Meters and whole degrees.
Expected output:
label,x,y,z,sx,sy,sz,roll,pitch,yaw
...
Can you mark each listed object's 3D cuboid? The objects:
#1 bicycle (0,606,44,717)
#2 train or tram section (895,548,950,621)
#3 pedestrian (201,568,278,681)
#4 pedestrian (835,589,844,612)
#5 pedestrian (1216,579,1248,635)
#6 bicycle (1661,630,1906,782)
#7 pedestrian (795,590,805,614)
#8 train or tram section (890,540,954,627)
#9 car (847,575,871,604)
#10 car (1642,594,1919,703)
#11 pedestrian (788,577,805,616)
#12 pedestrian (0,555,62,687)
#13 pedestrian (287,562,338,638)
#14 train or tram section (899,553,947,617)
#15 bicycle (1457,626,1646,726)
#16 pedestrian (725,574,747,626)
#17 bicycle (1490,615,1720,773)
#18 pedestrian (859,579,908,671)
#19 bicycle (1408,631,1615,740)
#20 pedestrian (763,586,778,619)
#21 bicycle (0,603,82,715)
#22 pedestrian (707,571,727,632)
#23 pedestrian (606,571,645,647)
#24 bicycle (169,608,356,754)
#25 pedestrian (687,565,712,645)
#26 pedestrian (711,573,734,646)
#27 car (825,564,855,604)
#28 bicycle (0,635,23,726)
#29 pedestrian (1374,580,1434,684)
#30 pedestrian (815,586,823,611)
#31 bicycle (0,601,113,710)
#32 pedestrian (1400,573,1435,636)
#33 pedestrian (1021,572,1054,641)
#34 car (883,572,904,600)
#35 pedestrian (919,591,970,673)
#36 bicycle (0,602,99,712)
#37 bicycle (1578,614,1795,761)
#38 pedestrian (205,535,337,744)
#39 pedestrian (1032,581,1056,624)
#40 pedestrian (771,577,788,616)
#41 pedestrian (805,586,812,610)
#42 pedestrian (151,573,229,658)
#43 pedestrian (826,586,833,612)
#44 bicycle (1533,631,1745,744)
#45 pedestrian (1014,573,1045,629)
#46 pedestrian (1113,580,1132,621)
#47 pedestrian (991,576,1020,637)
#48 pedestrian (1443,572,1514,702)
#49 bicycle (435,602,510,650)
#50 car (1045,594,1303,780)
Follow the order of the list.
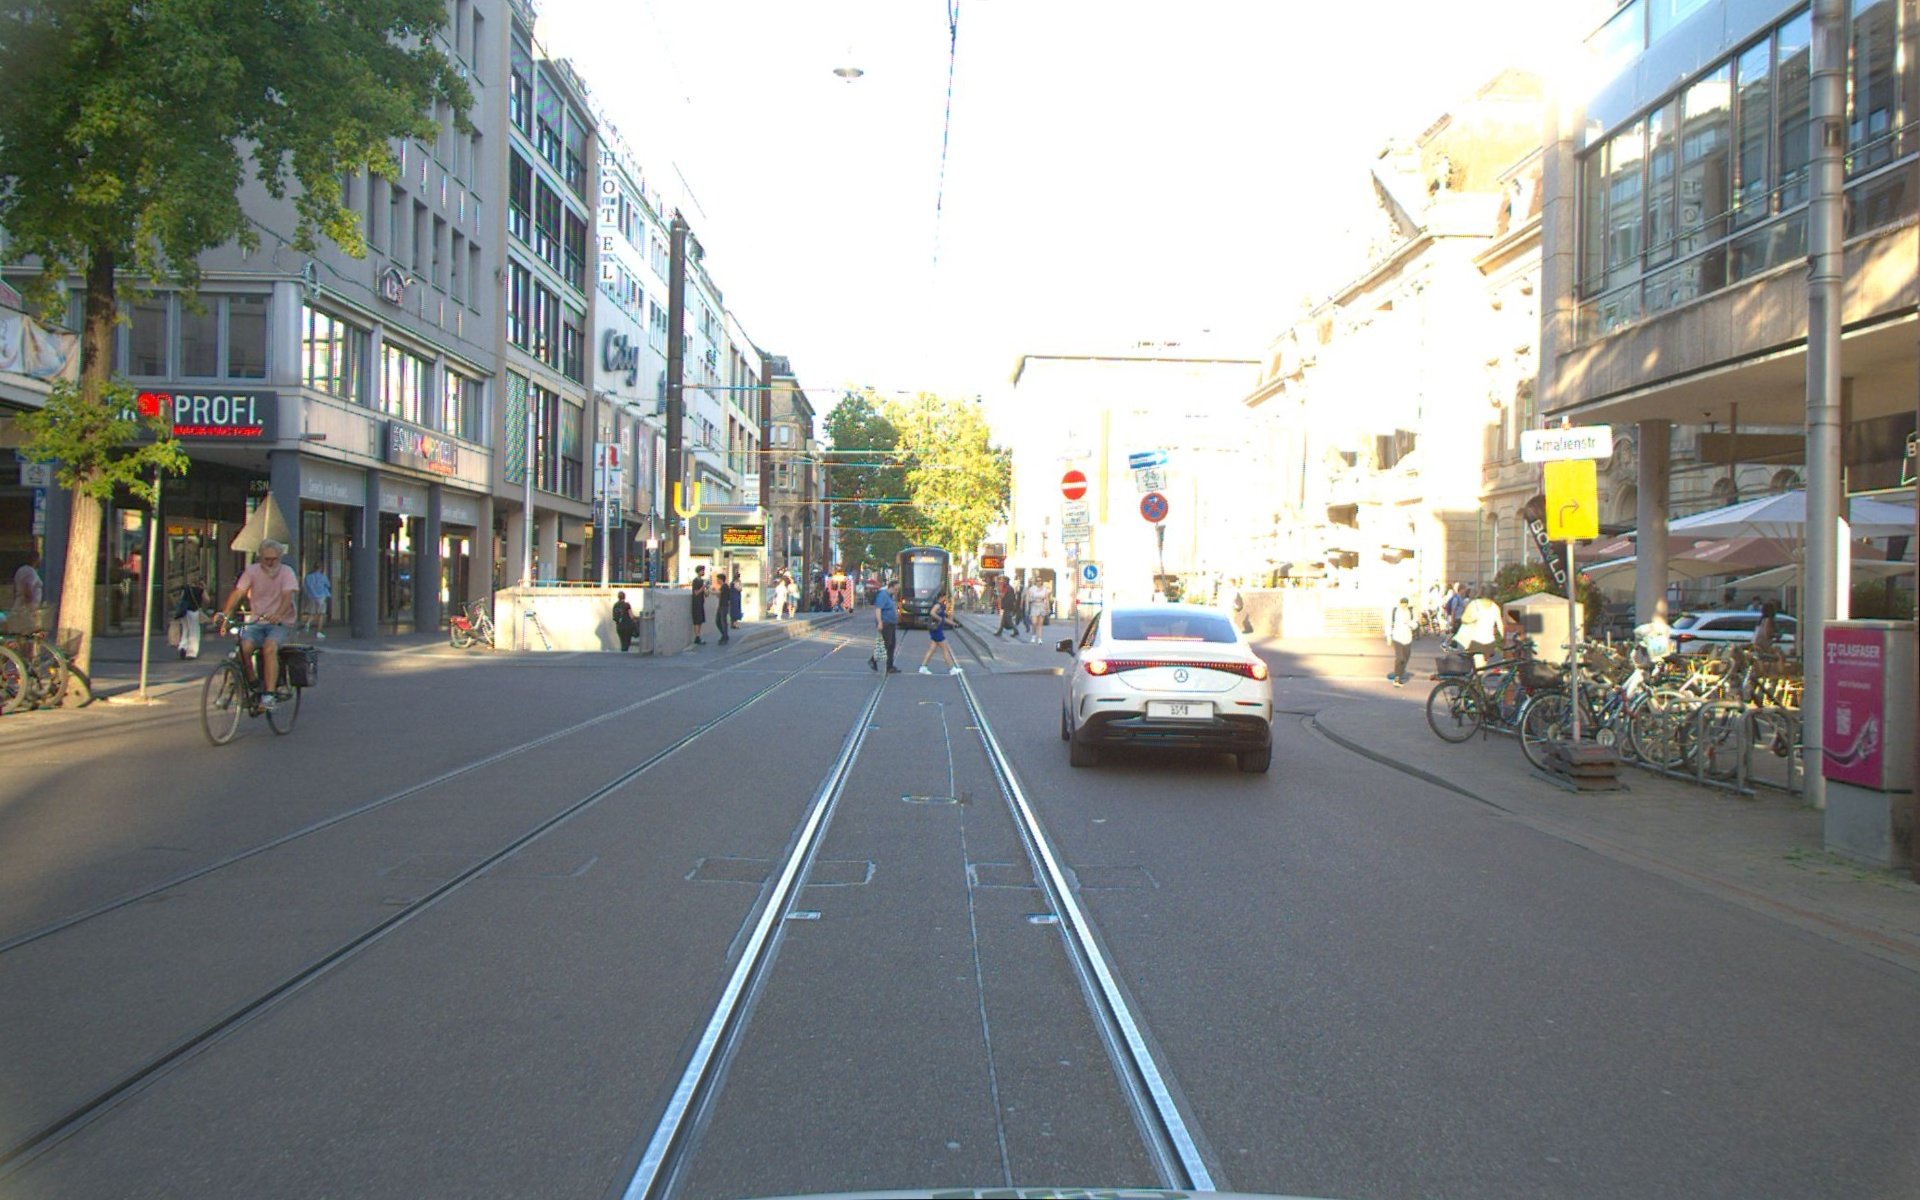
label,x,y,z,sx,sy,sz,roll,pitch,yaw
bicycle,-9.472,0.556,15.519,1.466,1.027,0.344,2,0,-12
train or tram section,-1.972,-0.814,87.584,2.640,3.578,12.542,1,0,-1
pedestrian,-10.736,0.357,24.673,0.734,1.651,0.980,1,0,-4
pedestrian,-8.639,0.031,118.295,0.592,1.658,0.531,1,0,-1
pedestrian,8.461,0.204,51.475,0.801,1.714,0.803,-1,0,-2
bicycle,6.913,0.866,13.897,1.875,1.177,0.608,-1,0,-13
pedestrian,-11.126,0.161,114.731,0.594,1.658,0.413,1,0,-17
train or tram section,-1.714,-0.732,75.037,2.640,3.578,12.542,1,0,-1
car,-8.767,-0.906,144.107,1.871,2.504,5.274,1,0,-1
car,12.101,0.686,24.014,3.728,1.499,1.647,1,0,-7
pedestrian,-6.818,-0.137,69.040,0.647,1.627,0.573,1,0,-3
pedestrian,-12.939,0.277,22.970,0.718,1.792,0.808,1,0,-36
pedestrian,-15.062,0.004,38.489,0.806,1.736,0.980,1,0,-3
train or tram section,-2.223,-0.887,99.420,2.640,3.578,11.140,1,0,-1
bicycle,6.872,0.870,19.220,2.077,1.115,0.608,0,0,-13
pedestrian,-6.850,-0.007,50.505,0.603,1.572,0.650,1,0,-4
bicycle,5.715,0.809,14.674,1.875,1.303,0.608,-1,0,-13
pedestrian,-1.462,0.473,31.751,0.886,1.728,0.848,1,0,-1
bicycle,5.885,0.909,17.663,2.077,1.115,0.608,1,0,-13
pedestrian,-9.222,0.115,80.576,0.647,1.627,0.573,1,0,-3
bicycle,-9.351,0.553,15.961,1.466,1.047,0.344,2,0,-12
pedestrian,-6.644,0.035,45.271,0.521,1.641,0.540,1,0,-7
pedestrian,-7.807,0.213,38.587,0.767,1.747,0.840,1,0,-4
bicycle,-6.268,0.686,15.020,0.784,1.162,2.256,3,0,-3
pedestrian,-6.457,0.116,41.020,0.560,1.962,0.540,1,0,-7
pedestrian,-5.902,0.236,41.099,0.509,1.791,0.550,1,0,-7
car,-9.057,-1.172,125.311,1.953,2.948,5.274,1,0,-1
bicycle,-9.302,0.696,14.925,1.462,0.797,0.344,2,0,0
pedestrian,7.949,0.566,29.654,0.824,1.816,0.803,-1,0,-2
pedestrian,-9.197,-0.109,107.852,0.405,1.658,0.606,1,0,-1
bicycle,-9.423,0.552,16.706,1.466,1.047,0.344,2,0,-12
pedestrian,13.493,0.130,48.763,0.708,1.816,1.005,-1,0,-2
pedestrian,1.967,0.167,41.913,0.731,1.728,0.840,1,0,-4
car,-7.089,-1.470,176.200,2.056,2.948,5.274,1,0,-1
pedestrian,-0.299,0.604,31.458,0.936,1.522,0.944,1,0,-1
bicycle,-9.370,0.552,16.335,1.466,1.047,0.344,2,0,-12
bicycle,6.849,0.801,15.609,1.875,1.303,0.608,-1,0,-13
pedestrian,-6.255,0.348,15.057,0.784,1.813,0.848,2,0,-3
pedestrian,3.629,0.103,71.707,0.941,1.816,0.803,-1,0,-2
pedestrian,-7.526,-0.151,68.943,0.647,1.627,0.573,1,0,-3
pedestrian,-10.420,-0.124,113.629,0.405,1.658,0.606,1,0,-1
pedestrian,-14.598,0.285,31.379,0.961,1.589,1.010,1,0,38
pedestrian,-8.278,-0.046,105.140,0.405,1.658,0.606,1,0,-1
bicycle,6.989,0.881,17.024,2.078,1.115,0.607,0,0,-14
pedestrian,2.291,0.038,54.517,0.941,1.816,0.803,-1,0,-2
pedestrian,7.355,0.027,74.920,0.712,1.816,0.707,1,0,-2
pedestrian,1.292,0.177,47.004,0.820,1.691,0.785,1,0,1
pedestrian,7.435,0.516,23.736,0.733,1.816,0.766,-1,0,-2
bicycle,-10.919,0.574,37.118,0.703,1.027,2.041,1,0,12
car,1.892,0.721,15.867,1.820,1.480,4.174,2,0,-1
